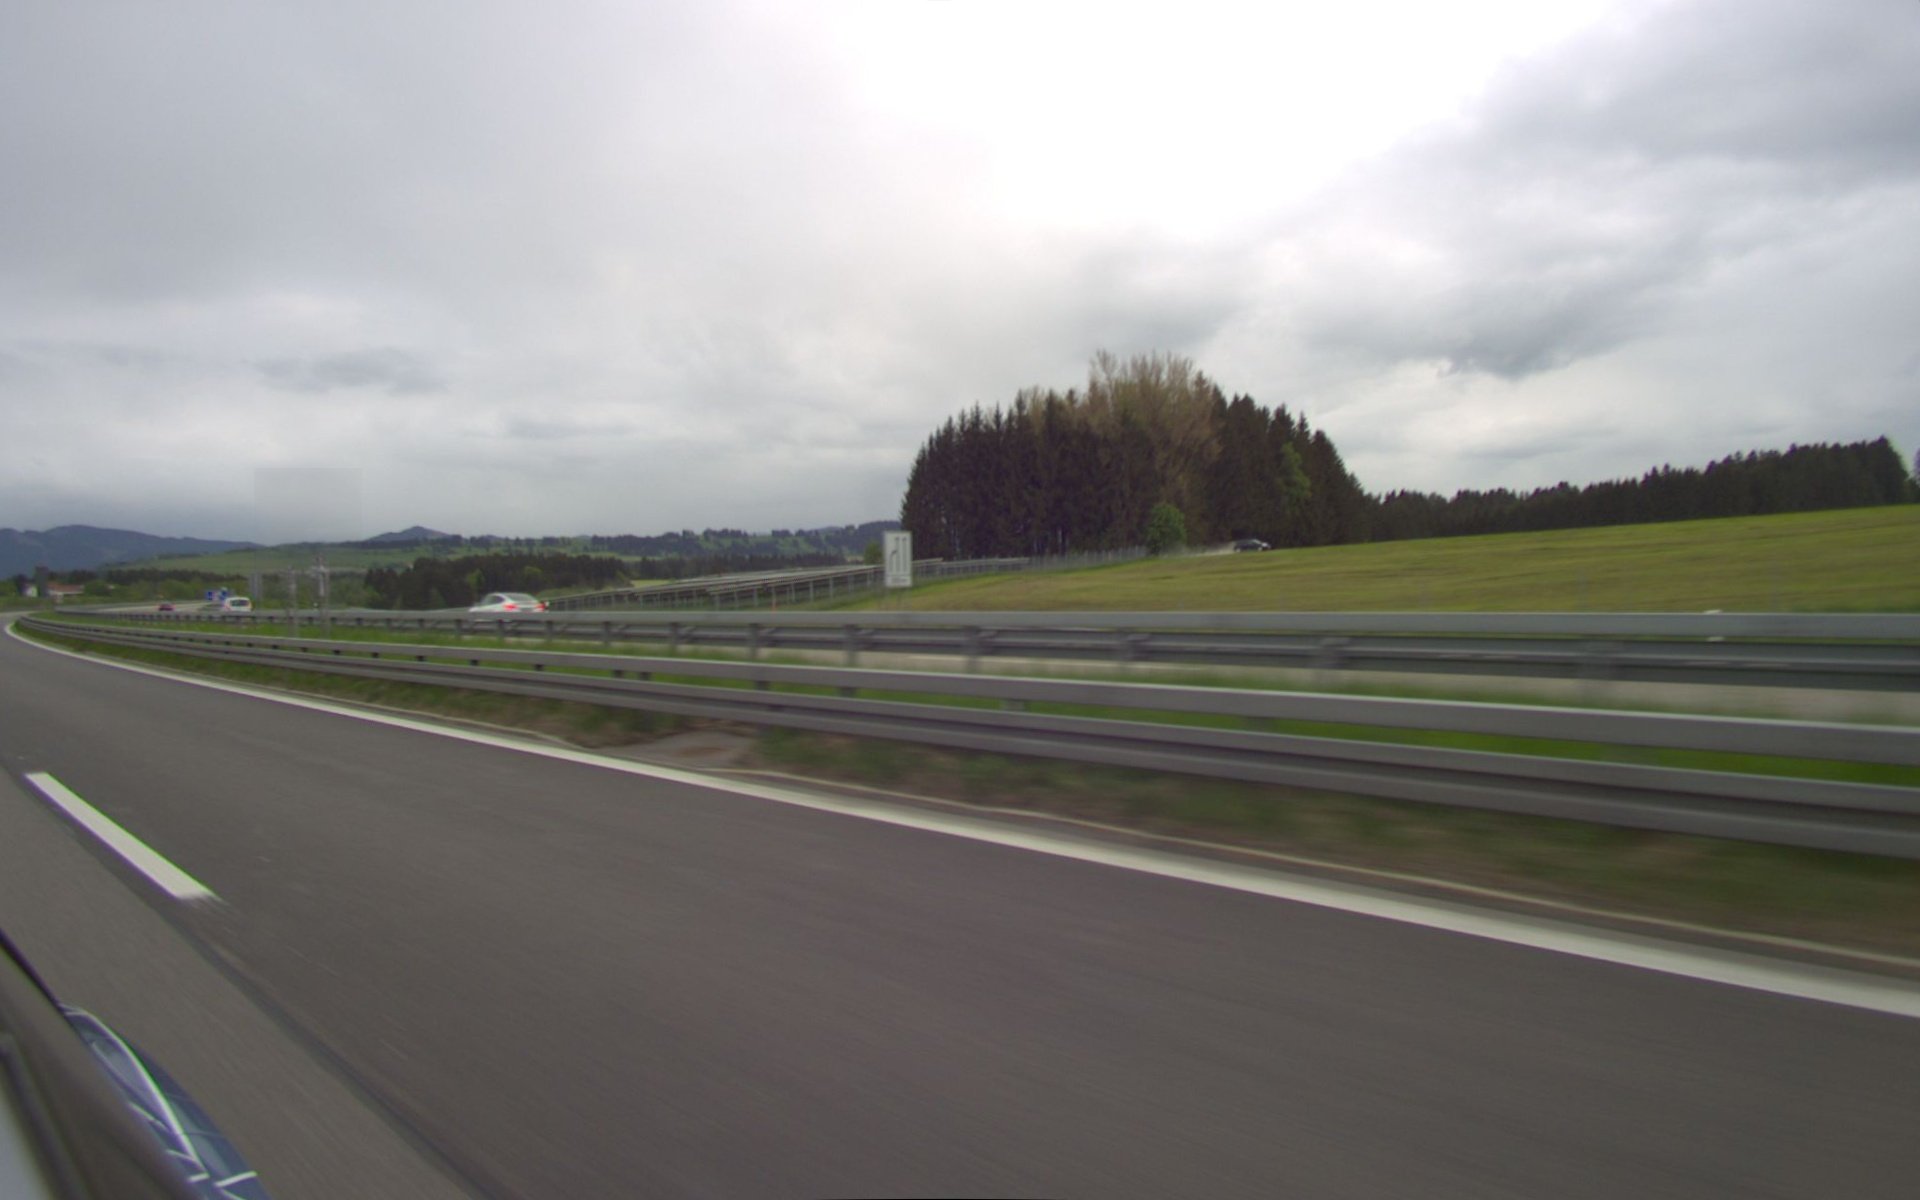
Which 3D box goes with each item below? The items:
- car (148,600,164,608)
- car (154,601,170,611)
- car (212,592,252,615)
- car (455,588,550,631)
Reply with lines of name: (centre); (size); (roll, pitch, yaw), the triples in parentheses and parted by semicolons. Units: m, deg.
car: (-155.868, 0.676, 196.238); (1.967, 1.428, 4.011); (-4, 2, -34)
car: (-127.120, 0.973, 161.248); (1.968, 1.450, 5.010); (-4, 2, -38)
car: (-60.784, 0.300, 84.480); (1.971, 1.699, 4.630); (-4, 2, -44)
car: (-20.389, 0.435, 44.986); (5.055, 1.703, 2.013); (-1, 2, 43)
